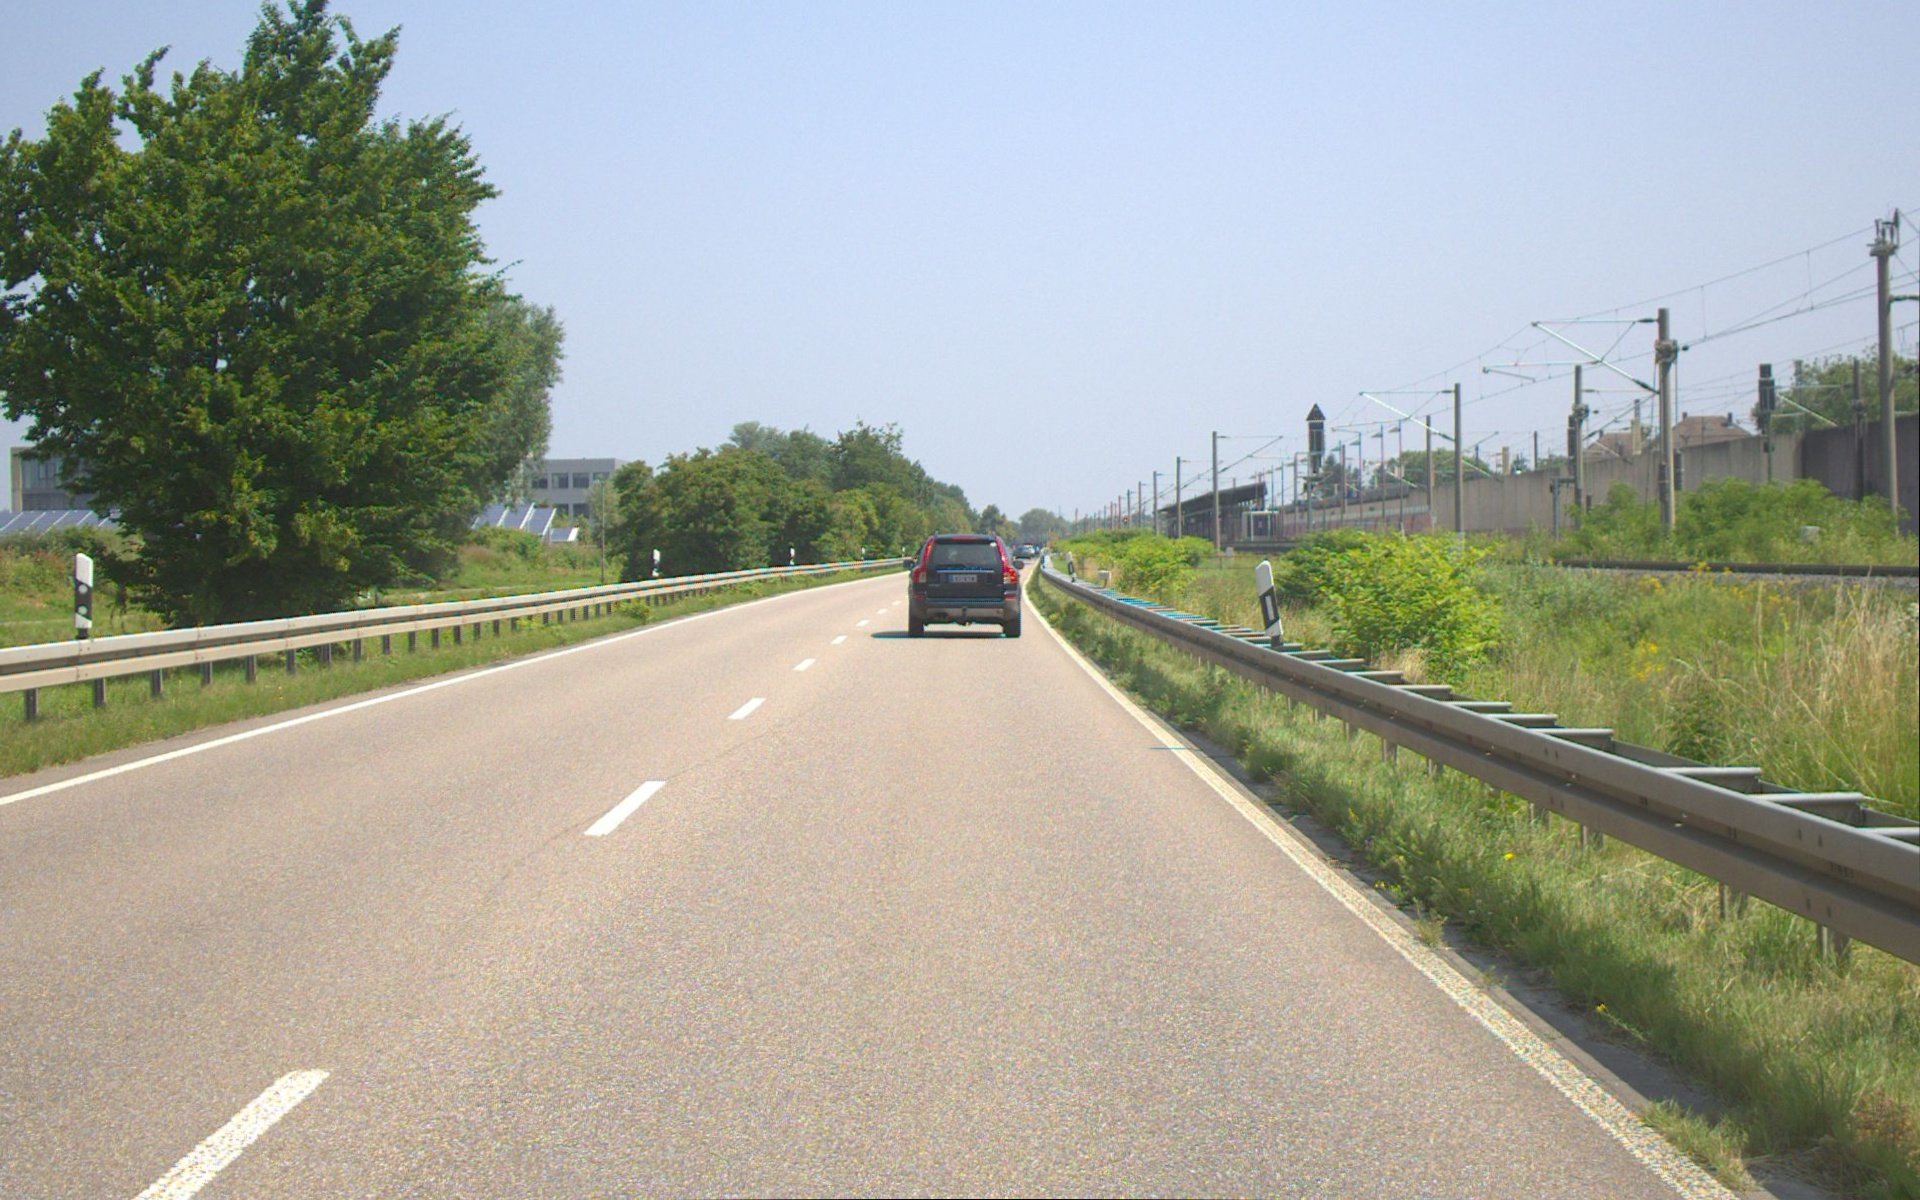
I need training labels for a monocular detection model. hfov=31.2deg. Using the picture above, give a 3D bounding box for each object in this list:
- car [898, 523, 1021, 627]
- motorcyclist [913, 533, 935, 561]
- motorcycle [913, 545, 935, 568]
[{"bbox_3d":[-0.036,-0.437,57.993,1.993,1.694,4.000,0,1,-1],"label":"car"},{"bbox_3d":[-1.660,-2.474,160.158,0.993,1.305,0.935,1,1,1],"label":"motorcyclist"},{"bbox_3d":[-1.682,-2.027,160.134,0.928,1.024,2.268,1,1,1],"label":"motorcycle"}]
